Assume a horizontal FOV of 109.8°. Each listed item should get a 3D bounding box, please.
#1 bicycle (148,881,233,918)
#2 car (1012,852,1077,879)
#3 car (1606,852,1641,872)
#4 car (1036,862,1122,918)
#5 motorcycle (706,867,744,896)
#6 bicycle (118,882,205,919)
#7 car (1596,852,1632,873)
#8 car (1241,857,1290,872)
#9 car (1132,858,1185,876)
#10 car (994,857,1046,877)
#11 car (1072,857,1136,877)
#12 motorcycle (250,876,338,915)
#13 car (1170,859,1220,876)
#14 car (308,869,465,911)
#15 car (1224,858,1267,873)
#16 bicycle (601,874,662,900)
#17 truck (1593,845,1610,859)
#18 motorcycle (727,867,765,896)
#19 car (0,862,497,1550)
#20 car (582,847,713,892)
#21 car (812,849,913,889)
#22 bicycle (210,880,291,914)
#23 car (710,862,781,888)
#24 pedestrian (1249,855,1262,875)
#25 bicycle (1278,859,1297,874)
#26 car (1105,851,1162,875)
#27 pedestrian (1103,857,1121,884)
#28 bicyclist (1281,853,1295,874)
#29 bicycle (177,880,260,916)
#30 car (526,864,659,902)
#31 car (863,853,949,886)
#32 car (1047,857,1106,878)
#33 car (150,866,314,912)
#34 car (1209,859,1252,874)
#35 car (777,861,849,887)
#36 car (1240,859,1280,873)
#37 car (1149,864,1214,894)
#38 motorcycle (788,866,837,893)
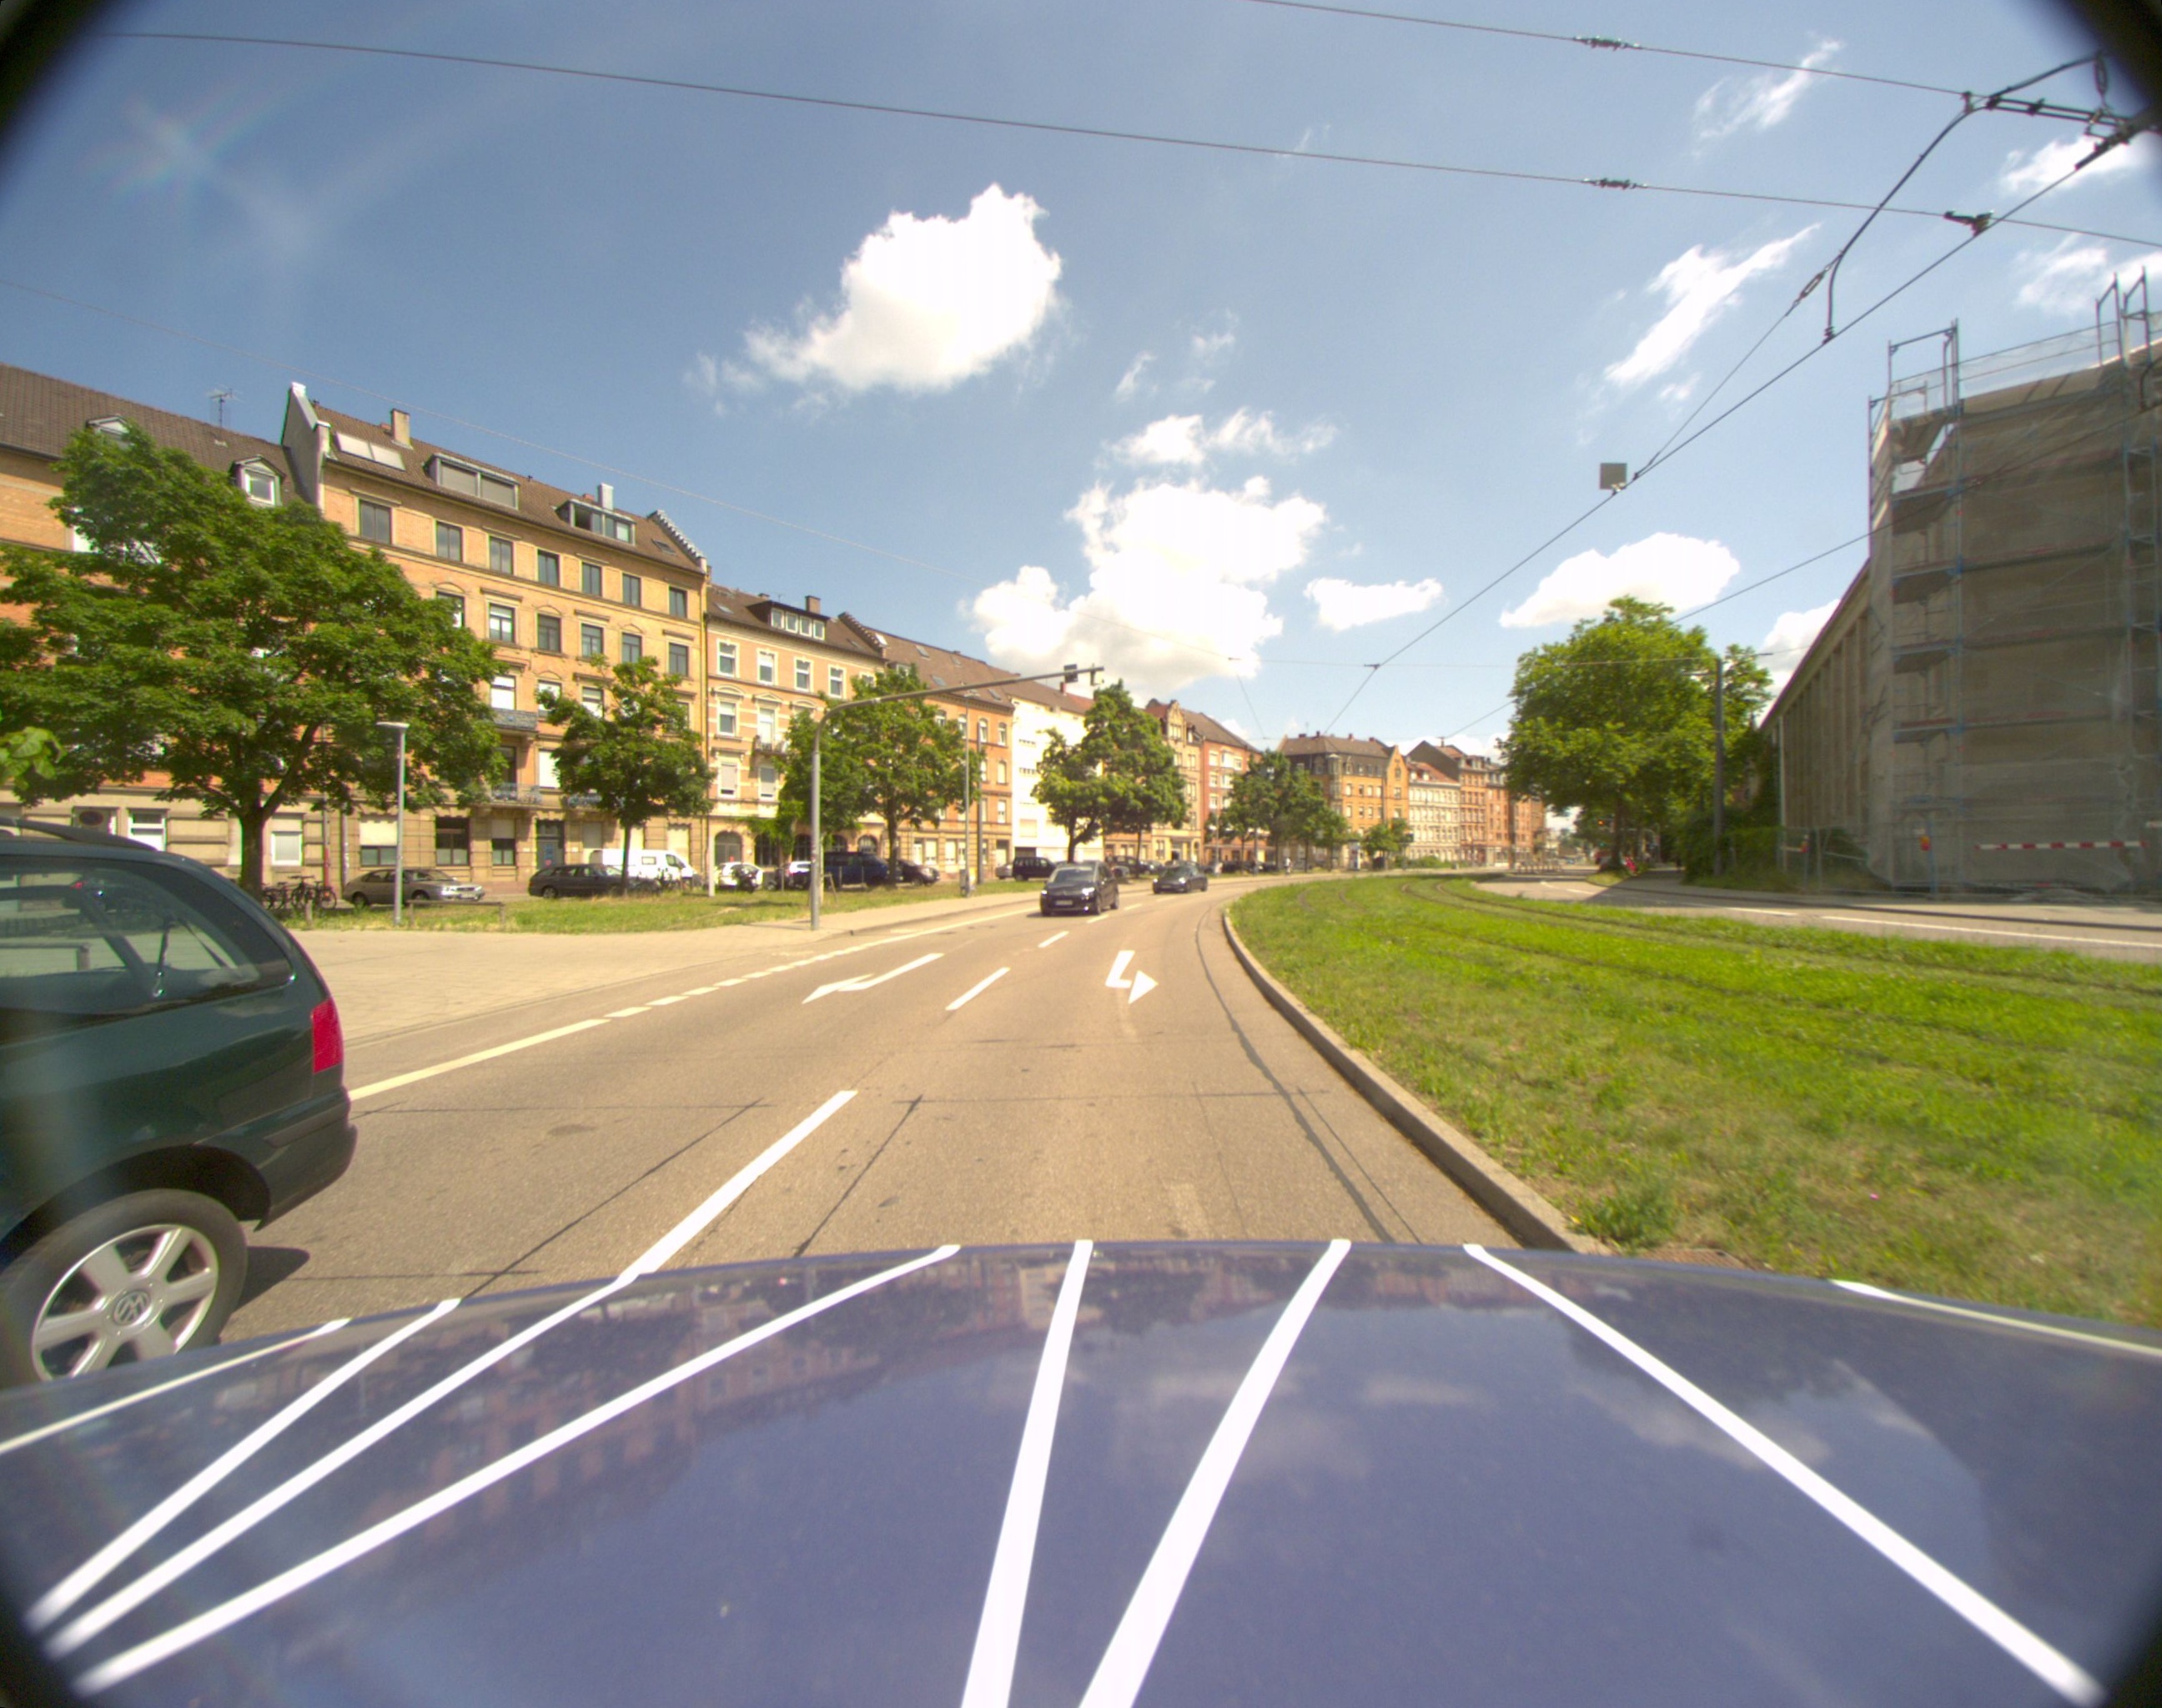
[{"bbox_3d":[-25.161,1.280,21.464,2.387,0.963,0.544,-2,0,14],"label":"bicycle"},{"bbox_3d":[-2.512,0.808,52.618,4.144,1.730,1.854,-2,-1,7],"label":"car"},{"bbox_3d":[40.802,0.597,57.108,1.927,1.411,4.059,-3,-2,38],"label":"car"},{"bbox_3d":[0.028,1.084,24.530,1.874,1.609,4.193,-2,0,12],"label":"car"},{"bbox_3d":[-14.652,1.128,31.264,1.784,1.160,0.641,-1,0,37],"label":"motorcycle"},{"bbox_3d":[-25.296,1.276,20.906,2.387,0.963,0.544,-2,0,14],"label":"bicycle"},{"bbox_3d":[37.405,0.621,53.256,1.927,1.360,4.327,-3,-2,36],"label":"car"},{"bbox_3d":[28.756,1.640,118.675,6.961,2.360,2.267,-1,0,33],"label":"car"},{"bbox_3d":[6.422,1.068,63.508,4.265,1.372,1.853,-2,-1,2],"label":"car"},{"bbox_3d":[-4.990,1.049,62.318,1.833,1.483,4.236,-2,-1,38],"label":"car"},{"bbox_3d":[1.782,0.972,57.417,4.688,1.372,1.853,-2,-1,4],"label":"car"},{"bbox_3d":[-24.481,1.291,23.646,2.387,1.118,0.814,-2,-1,14],"label":"motorcycle"},{"bbox_3d":[10.283,1.230,68.599,4.265,1.372,1.853,-2,-1,2],"label":"car"},{"bbox_3d":[-23.186,1.198,25.409,4.157,1.237,1.865,-2,-1,14],"label":"car"},{"bbox_3d":[16.609,1.206,76.744,3.995,1.372,1.963,-2,-1,5],"label":"car"},{"bbox_3d":[-16.415,1.191,27.795,0.542,0.896,1.825,-2,-1,34],"label":"bicycle"},{"bbox_3d":[117.794,-0.452,171.905,2.639,3.088,7.238,1,1,38],"label":"truck"},{"bbox_3d":[-14.101,1.140,31.992,1.784,1.160,0.641,-1,0,37],"label":"motorcycle"},{"bbox_3d":[-3.695,0.913,1.025,1.823,1.746,5.032,-2,-1,1],"label":"car"},{"bbox_3d":[-22.312,0.770,39.332,2.112,2.165,5.405,-2,-1,38],"label":"car"},{"bbox_3d":[-11.402,0.785,39.781,4.624,1.916,1.918,-2,-1,7],"label":"car"},{"bbox_3d":[-24.825,1.296,22.705,2.387,0.950,0.544,-2,0,14],"label":"bicycle"},{"bbox_3d":[-19.159,1.179,43.520,1.564,1.394,3.358,-1,0,40],"label":"car"},{"bbox_3d":[14.784,0.924,64.207,0.700,1.695,1.047,0,3,37],"label":"pedestrian"},{"bbox_3d":[18.003,1.133,66.110,0.693,1.235,1.843,6,3,44],"label":"bicycle"},{"bbox_3d":[4.144,0.730,60.337,4.362,1.730,1.853,-2,-1,2],"label":"car"},{"bbox_3d":[1.924,1.018,47.071,0.700,1.583,0.907,2,4,37],"label":"pedestrian"},{"bbox_3d":[18.032,0.843,66.113,0.694,1.814,0.958,6,3,43],"label":"bicyclist"},{"bbox_3d":[-25.007,1.284,22.031,2.387,0.963,0.544,-2,0,14],"label":"bicycle"},{"bbox_3d":[-19.123,1.116,29.820,4.253,1.419,1.807,-1,0,9],"label":"car"},{"bbox_3d":[-9.690,0.851,42.125,4.168,1.646,1.918,-2,-1,11],"label":"car"},{"bbox_3d":[-0.308,0.953,54.863,4.081,1.397,1.853,-2,-1,3],"label":"car"},{"bbox_3d":[-30.970,1.232,27.811,1.660,1.483,3.861,-2,-1,38],"label":"car"},{"bbox_3d":[14.616,1.216,74.516,3.994,1.372,1.963,-2,-1,10],"label":"car"},{"bbox_3d":[-16.600,1.203,47.158,1.660,1.483,3.861,-2,-1,38],"label":"car"},{"bbox_3d":[18.744,1.282,79.454,3.992,1.346,1.964,-2,-1,16],"label":"car"},{"bbox_3d":[5.348,1.267,39.978,1.911,1.385,4.321,-2,-1,29],"label":"car"},{"bbox_3d":[-11.883,1.120,33.678,1.910,1.160,0.638,0,0,-40],"label":"motorcycle"}]
